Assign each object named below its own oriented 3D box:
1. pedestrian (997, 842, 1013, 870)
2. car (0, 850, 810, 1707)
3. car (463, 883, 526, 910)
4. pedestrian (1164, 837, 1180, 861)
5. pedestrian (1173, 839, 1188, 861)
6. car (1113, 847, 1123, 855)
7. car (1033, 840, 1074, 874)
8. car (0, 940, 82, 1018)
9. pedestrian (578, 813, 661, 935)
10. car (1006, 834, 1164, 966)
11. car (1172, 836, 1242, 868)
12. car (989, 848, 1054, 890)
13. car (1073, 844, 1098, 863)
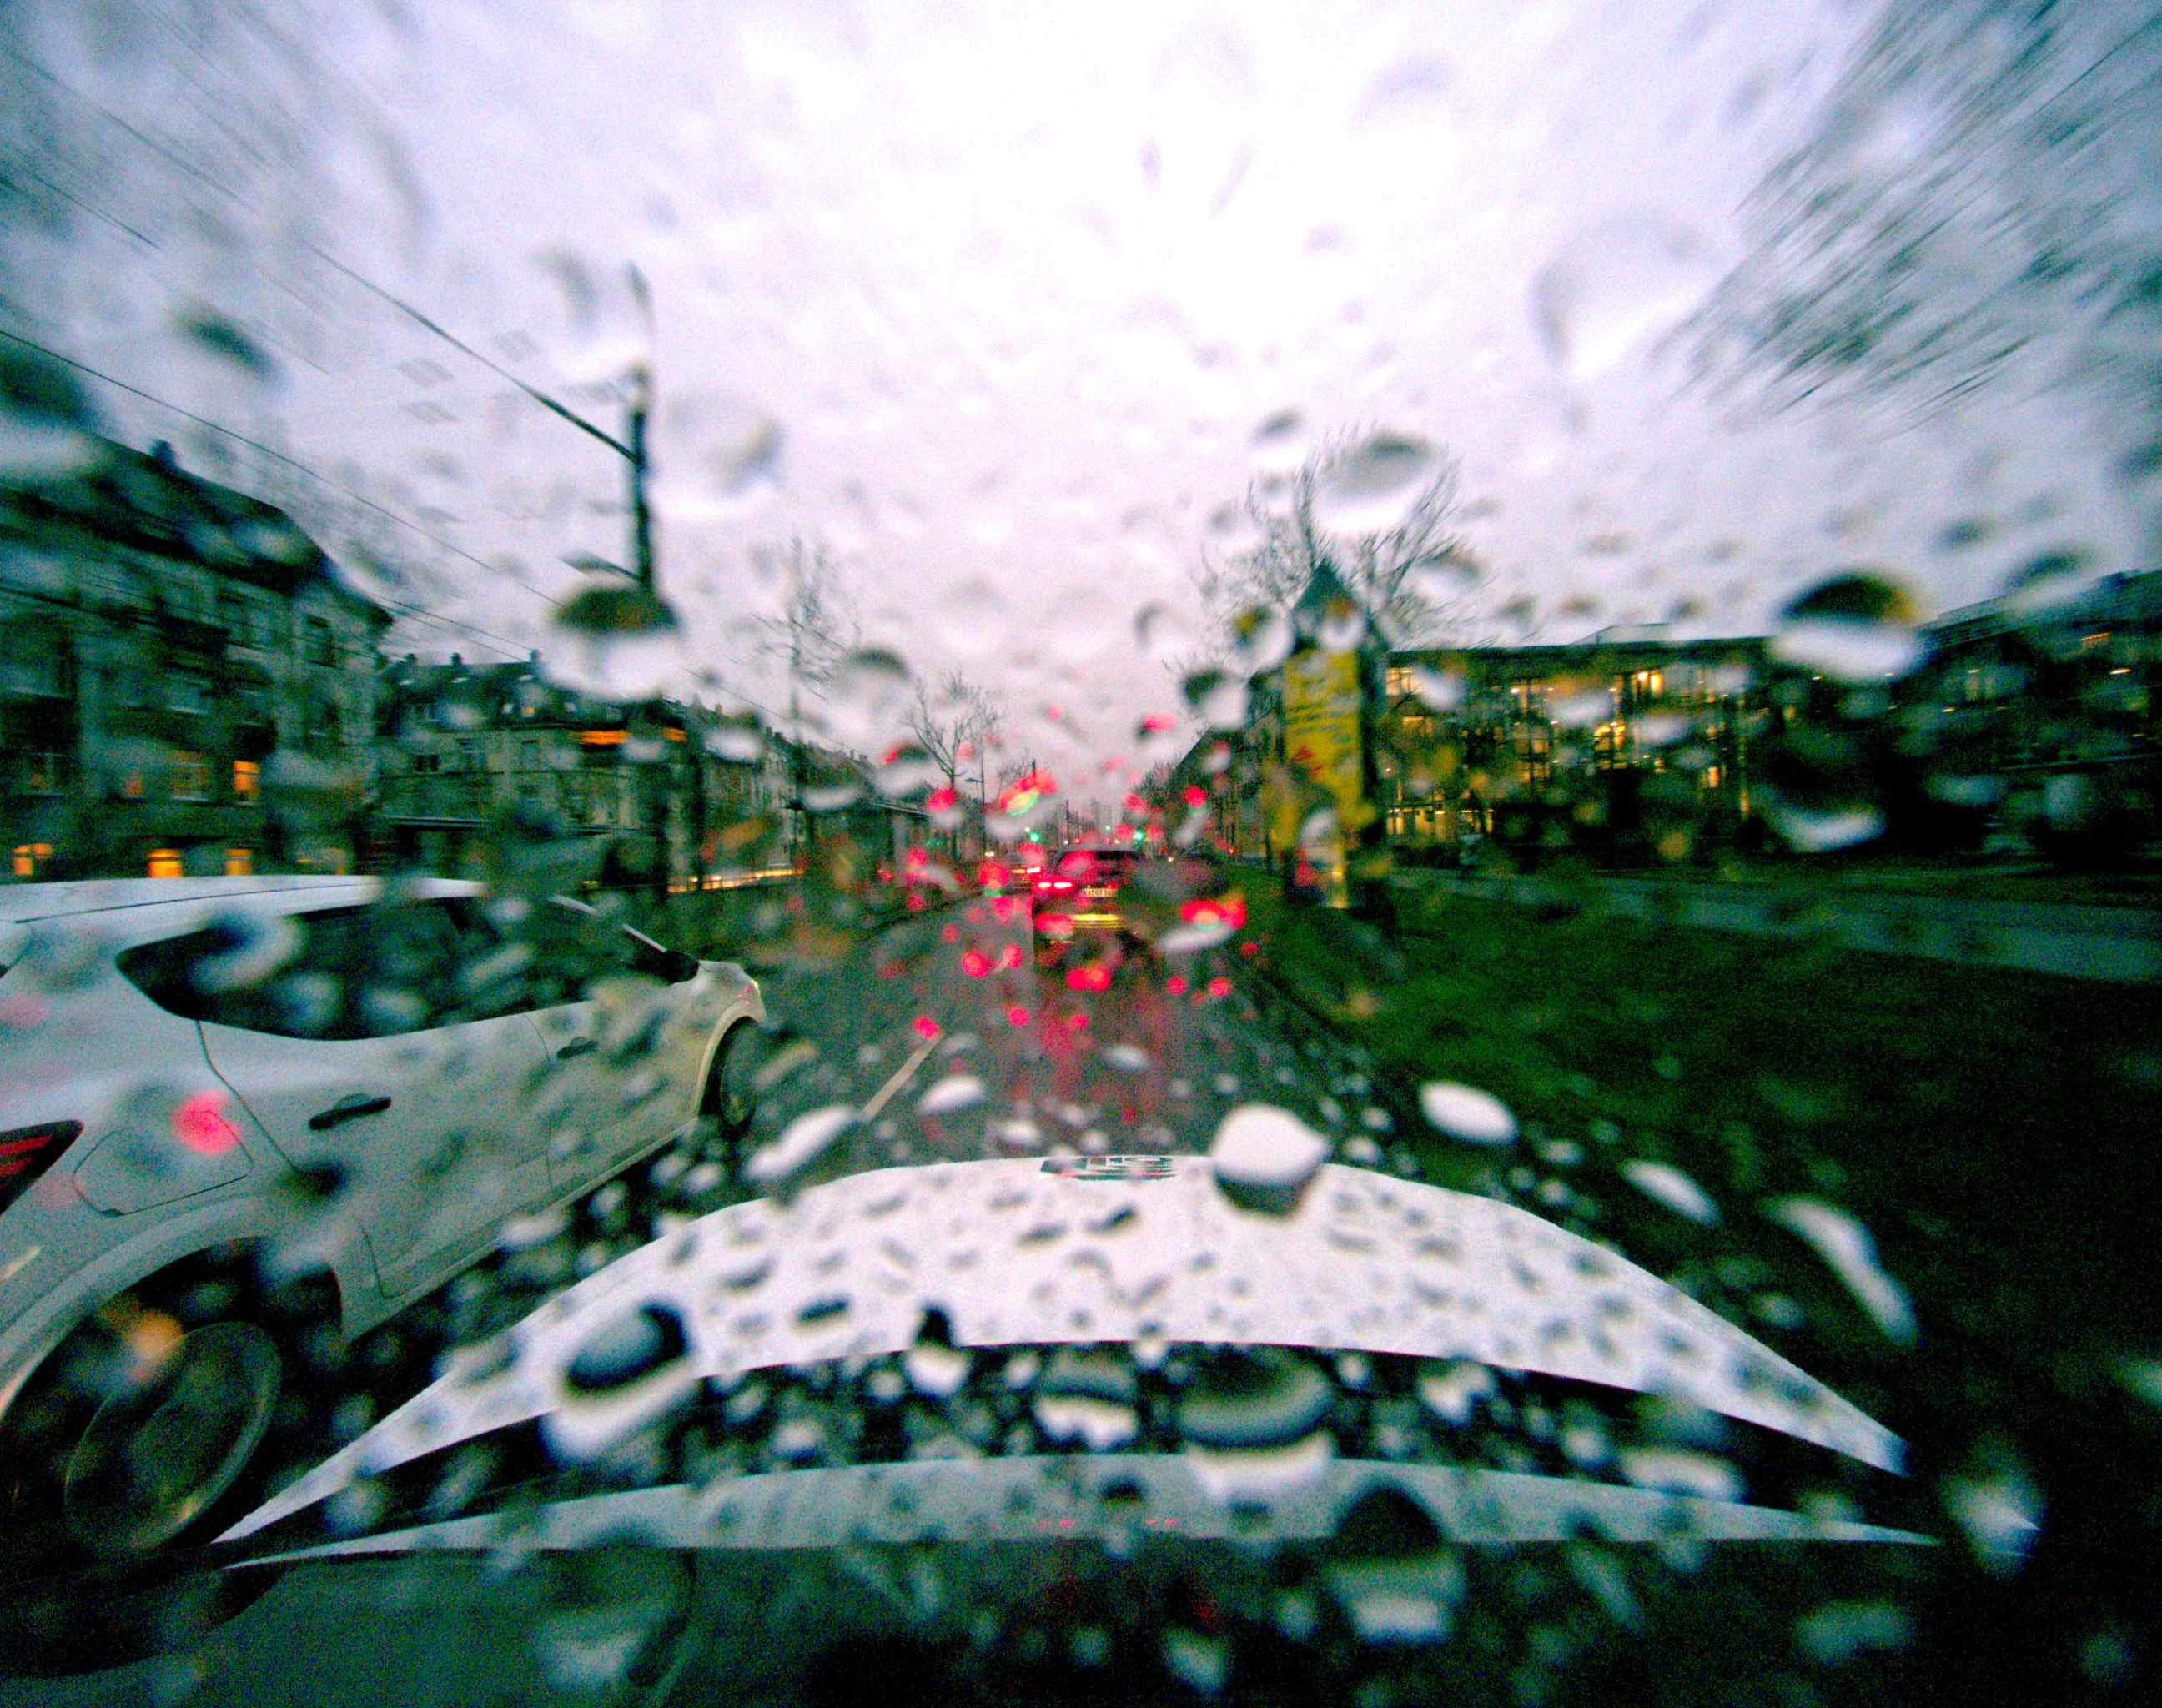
[{"bbox_3d":[-4.315,0.134,46.258,0.696,1.552,0.669,-3,0,2],"label":"pedestrian"},{"bbox_3d":[-2.595,0.788,3.058,1.620,1.487,4.002,-3,1,2],"label":"car"},{"bbox_3d":[-26.992,1.946,37.420,3.374,1.070,1.594,-3,0,41],"label":"car"},{"bbox_3d":[6.455,-0.353,57.906,0.893,1.596,0.505,-3,0,44],"label":"pedestrian"},{"bbox_3d":[7.306,-0.270,60.077,0.893,1.596,0.505,-3,0,44],"label":"pedestrian"},{"bbox_3d":[7.597,-0.642,167.255,1.986,1.479,4.002,-3,0,2],"label":"car"},{"bbox_3d":[-1.504,0.154,45.936,1.986,1.765,4.002,-3,0,2],"label":"car"},{"bbox_3d":[-22.958,2.664,15.825,1.985,1.442,4.004,-3,0,4],"label":"car"},{"bbox_3d":[-6.329,0.259,11.199,0.709,1.606,0.746,-1,0,-4],"label":"pedestrian"},{"bbox_3d":[0.090,0.579,12.559,1.984,1.616,4.001,-3,0,1],"label":"car"},{"bbox_3d":[7.458,-0.141,48.432,3.844,1.560,1.767,-5,0,3],"label":"car"},{"bbox_3d":[-2.171,0.515,30.924,1.986,1.398,4.002,-3,0,2],"label":"car"},{"bbox_3d":[0.427,-0.081,73.961,1.985,1.618,4.003,-3,0,3],"label":"car"}]
